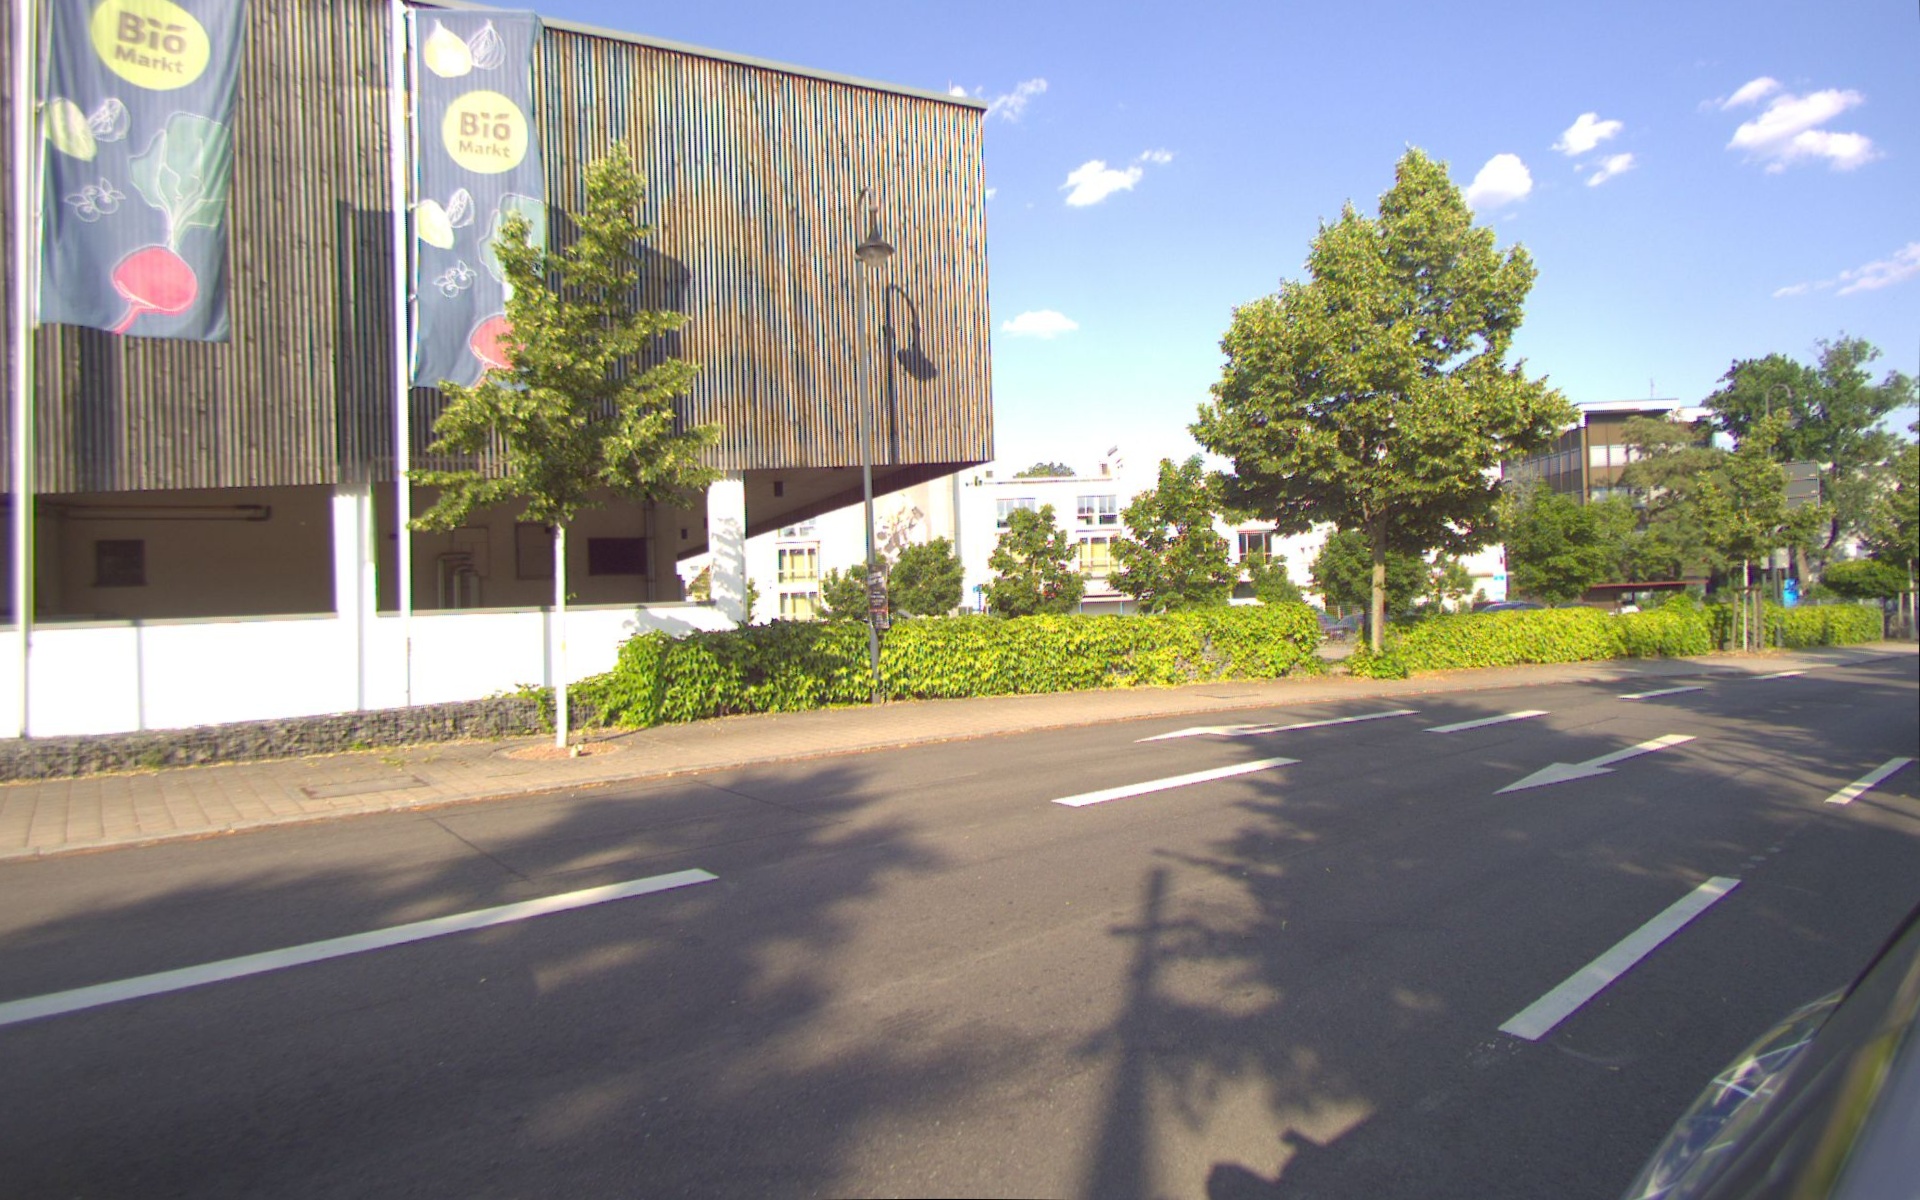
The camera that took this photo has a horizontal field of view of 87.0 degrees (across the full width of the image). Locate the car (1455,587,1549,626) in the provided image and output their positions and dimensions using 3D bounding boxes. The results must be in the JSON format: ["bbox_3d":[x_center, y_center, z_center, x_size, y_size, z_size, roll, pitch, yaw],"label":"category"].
[{"bbox_3d":[27.645,0.323,51.596,4.553,1.878,2.002,-1,-1,-28],"label":"car"}]

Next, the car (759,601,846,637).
[{"bbox_3d":[-7.872,0.934,50.555,3.918,1.649,2.003,-1,-1,-25],"label":"car"}]

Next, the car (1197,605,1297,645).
[{"bbox_3d":[13.490,1.166,47.570,4.226,1.746,1.897,-1,-3,-23],"label":"car"}]

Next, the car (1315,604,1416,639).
[{"bbox_3d":[19.052,0.996,47.531,4.456,1.462,2.002,-1,-1,-29],"label":"car"}]

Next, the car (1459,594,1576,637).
[{"bbox_3d":[22.404,0.627,40.651,4.456,1.552,2.001,-1,-3,-29],"label":"car"}]

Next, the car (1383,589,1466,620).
[{"bbox_3d":[26.872,0.261,58.530,4.456,1.669,2.002,-1,-1,-28],"label":"car"}]

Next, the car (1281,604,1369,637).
[{"bbox_3d":[18.031,1.001,50.045,3.873,1.462,2.002,-1,-1,-29],"label":"car"}]

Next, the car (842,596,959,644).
[{"bbox_3d":[-2.235,0.719,38.025,3.918,1.649,2.003,-1,-1,-25],"label":"car"}]

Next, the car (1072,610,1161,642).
[{"bbox_3d":[8.757,1.428,56.799,4.452,1.669,2.004,-1,-1,-18],"label":"car"}]
